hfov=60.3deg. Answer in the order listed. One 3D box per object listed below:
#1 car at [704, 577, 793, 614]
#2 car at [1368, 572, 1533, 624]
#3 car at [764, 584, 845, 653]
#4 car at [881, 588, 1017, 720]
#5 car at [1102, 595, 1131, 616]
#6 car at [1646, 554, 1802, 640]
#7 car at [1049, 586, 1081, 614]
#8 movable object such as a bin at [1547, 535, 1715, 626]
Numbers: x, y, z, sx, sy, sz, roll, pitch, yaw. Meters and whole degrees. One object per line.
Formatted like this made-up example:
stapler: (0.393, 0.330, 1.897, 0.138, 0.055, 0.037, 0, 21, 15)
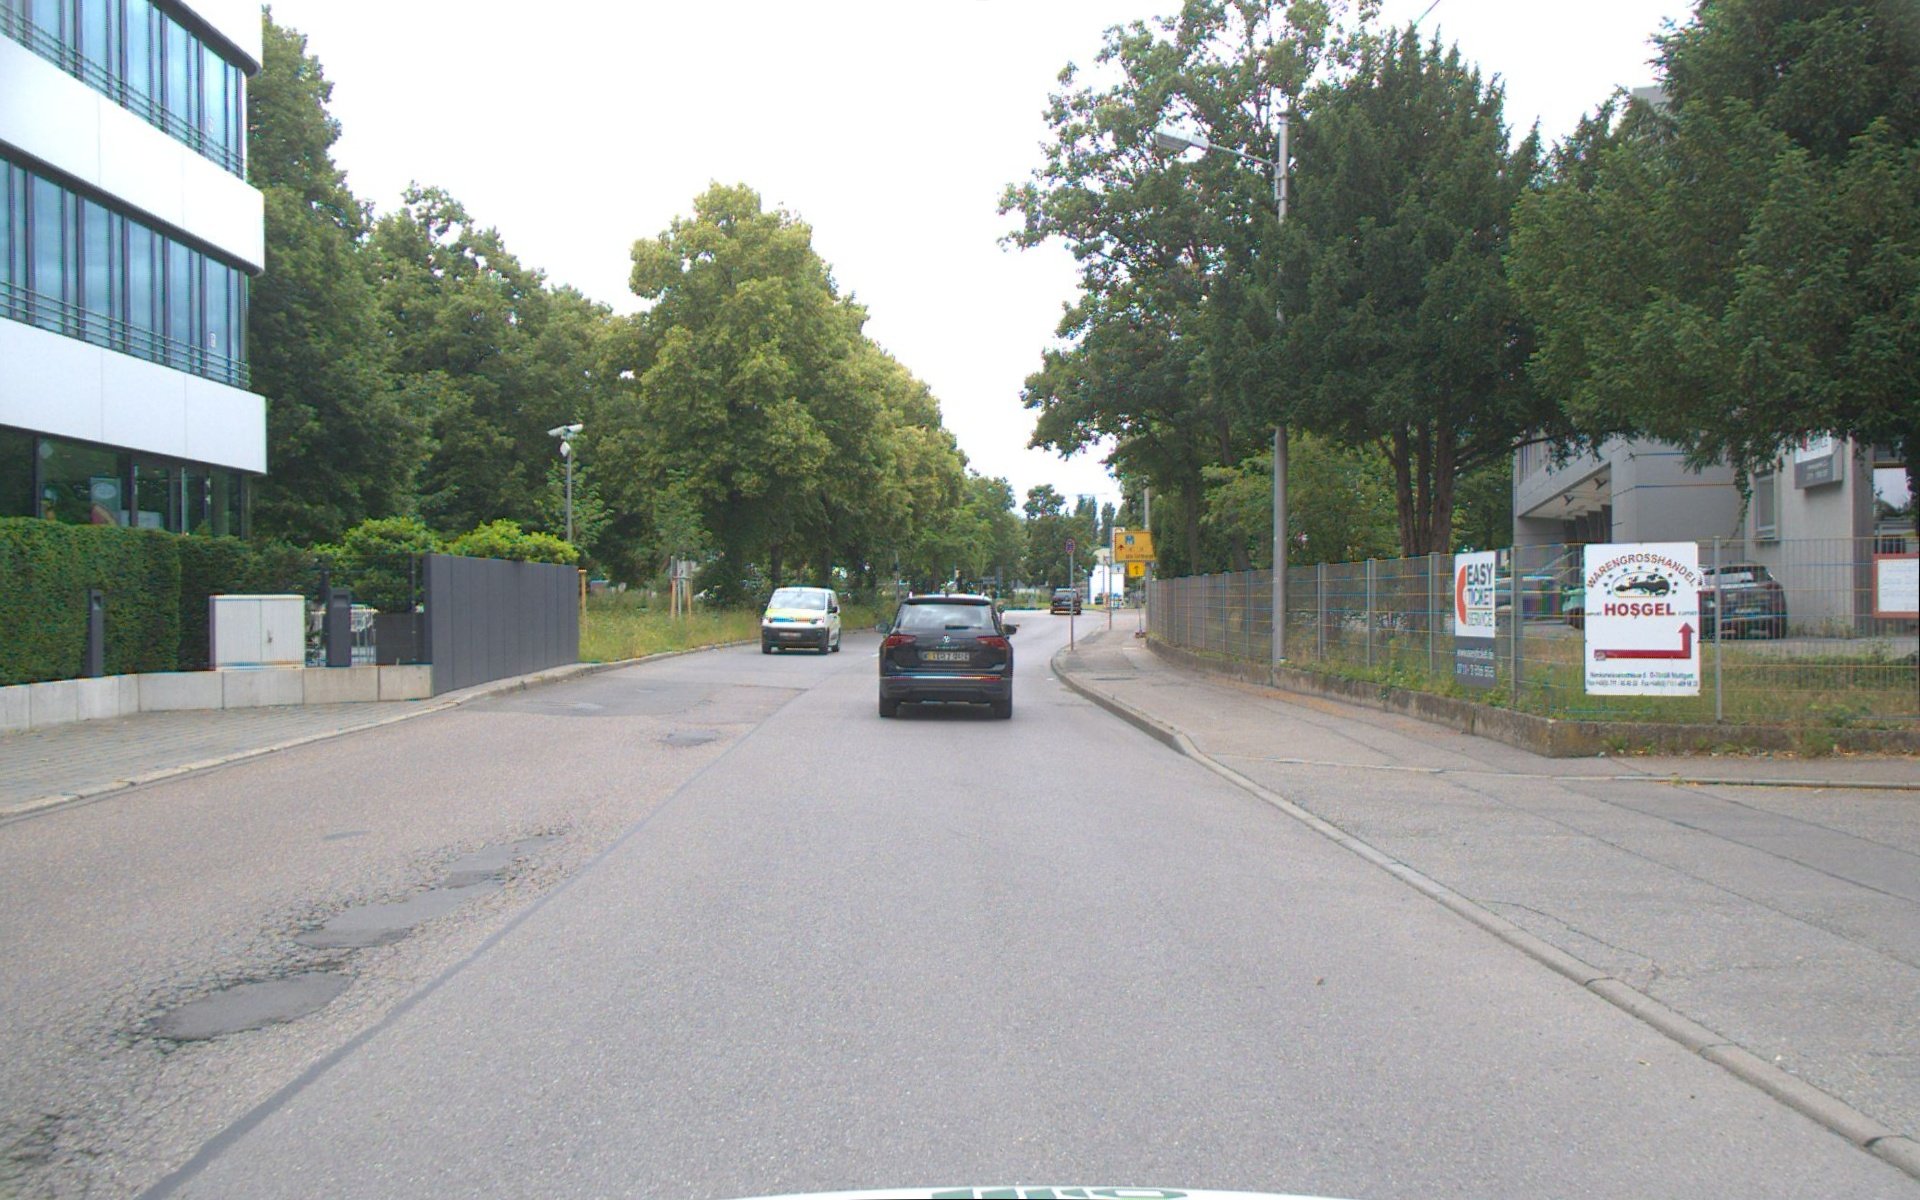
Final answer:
car: (-14.866, -0.327, 116.509, 5.945, 2.429, 2.395, -1, 0, 1)
car: (15.450, -0.056, 52.273, 1.983, 1.500, 4.620, -1, -1, -42)
car: (-4.211, 0.476, 45.250, 1.770, 1.795, 4.206, 1, 0, 0)
car: (-0.113, 0.711, 22.829, 1.703, 1.646, 3.641, 1, -1, 1)
car: (13.433, 0.449, 142.068, 1.951, 1.817, 4.003, 0, 0, 13)
car: (16.080, -0.101, 35.049, 1.951, 1.594, 4.446, -3, 1, 12)
car: (6.095, -0.010, 96.368, 1.625, 1.602, 3.828, -1, 0, 0)
movable object such as a bin: (18.311, -0.516, 45.303, 3.902, 2.345, 1.954, -1, 0, 11)
